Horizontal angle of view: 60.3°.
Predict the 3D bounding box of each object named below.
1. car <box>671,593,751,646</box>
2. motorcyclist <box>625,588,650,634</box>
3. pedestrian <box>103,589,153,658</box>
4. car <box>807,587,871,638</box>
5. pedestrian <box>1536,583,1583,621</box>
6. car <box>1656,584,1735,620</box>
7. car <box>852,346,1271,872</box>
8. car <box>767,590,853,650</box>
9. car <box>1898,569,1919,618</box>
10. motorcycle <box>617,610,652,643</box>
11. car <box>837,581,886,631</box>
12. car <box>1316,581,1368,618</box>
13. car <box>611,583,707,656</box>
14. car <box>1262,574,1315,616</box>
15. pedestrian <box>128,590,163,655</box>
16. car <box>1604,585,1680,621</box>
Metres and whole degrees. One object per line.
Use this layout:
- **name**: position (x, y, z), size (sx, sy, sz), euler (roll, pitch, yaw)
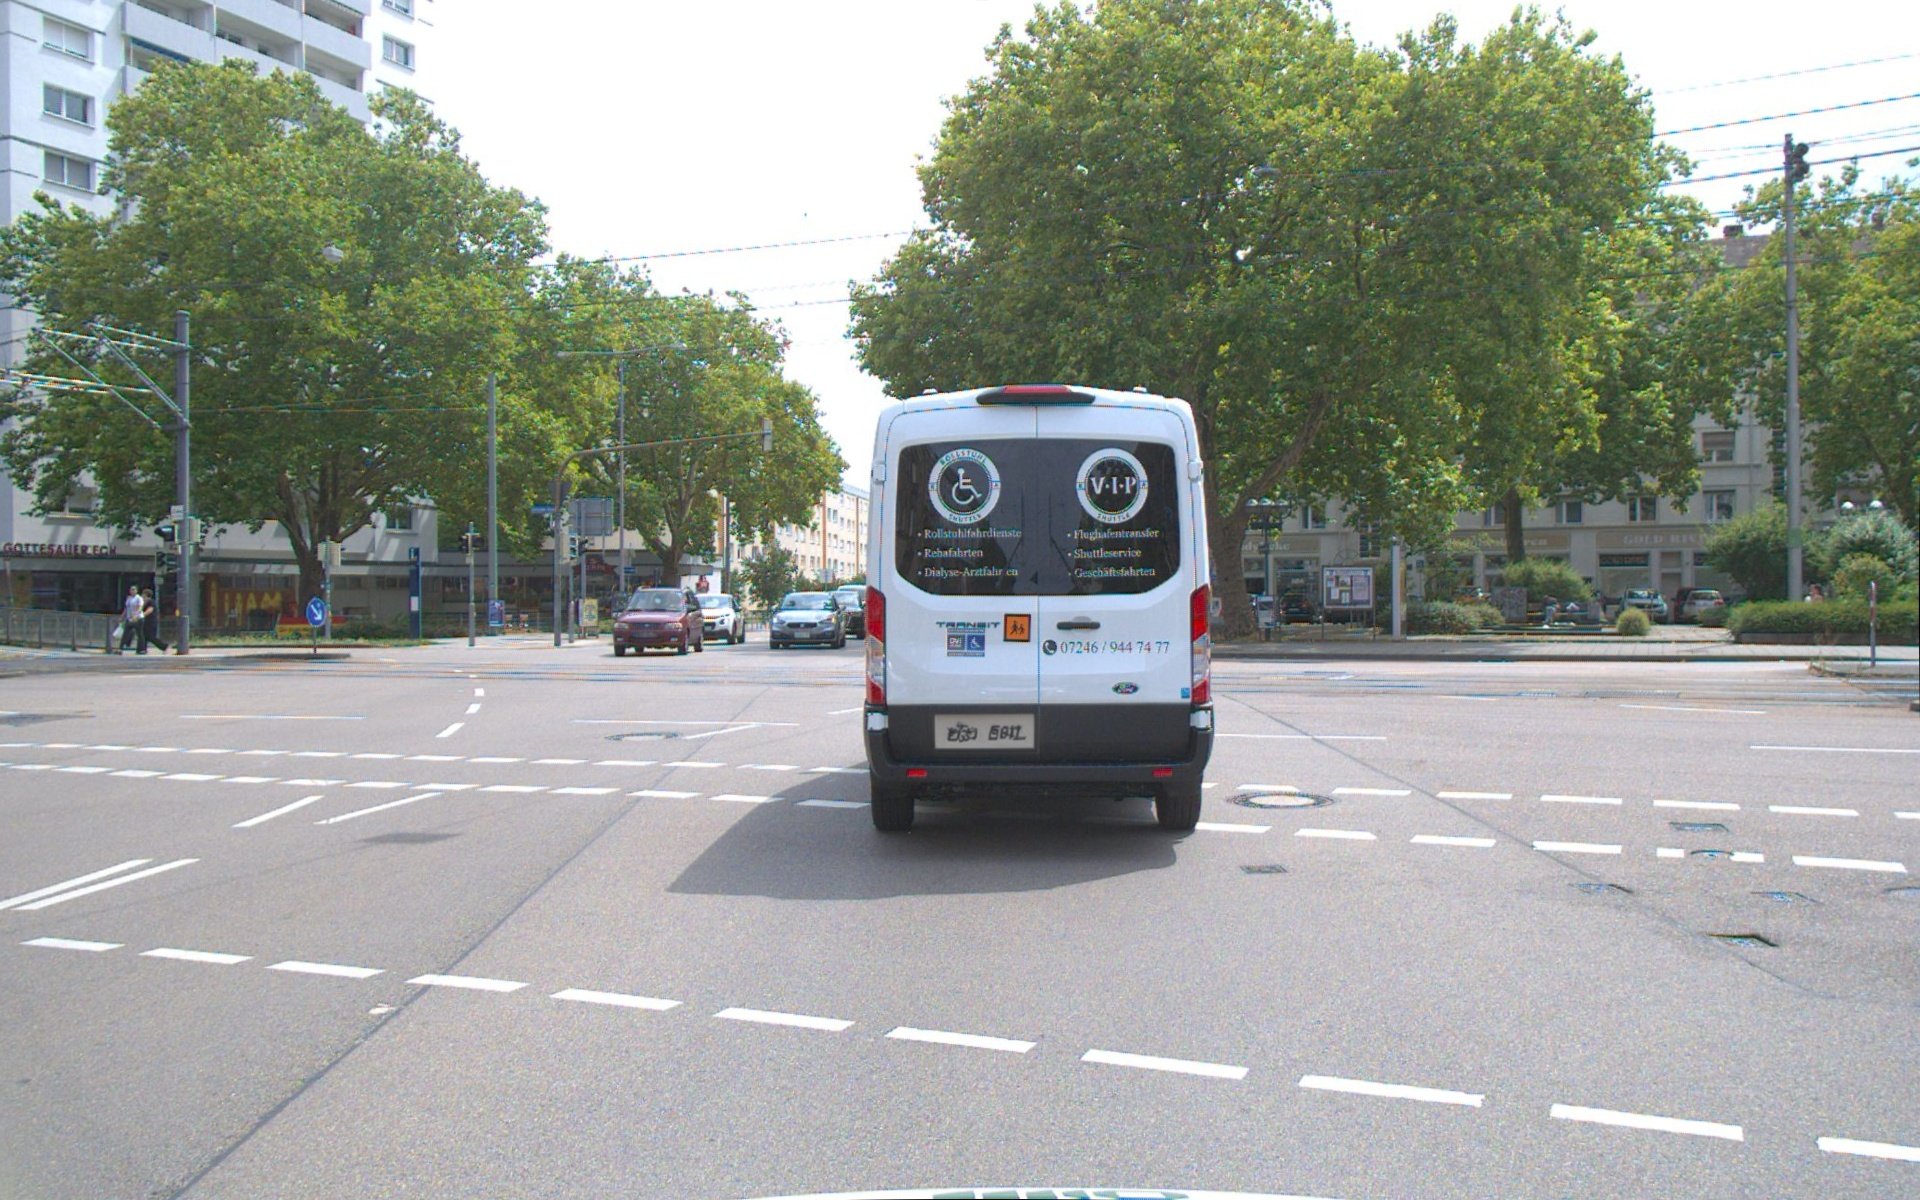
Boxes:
- **car**: position (-7.330, 0.542, 48.961), size (1.707, 1.452, 4.032), euler (-1, 0, 1)
- **motorcyclist**: position (-10.158, 0.351, 52.122), size (0.669, 1.420, 0.681), euler (-1, 0, -2)
- **pedestrian**: position (-19.545, 0.537, 38.849), size (0.791, 1.600, 0.723), euler (-1, 0, 27)
- **car**: position (-3.949, 0.382, 54.537), size (1.707, 1.615, 4.329), euler (-1, 0, 1)
- **pedestrian**: position (20.469, 0.074, 56.519), size (1.068, 1.257, 1.441), euler (-3, -1, 3)
- **car**: position (32.948, 0.082, 74.188), size (1.952, 1.545, 4.002), euler (-1, 0, 3)
- **car**: position (0.428, -0.003, 11.026), size (2.138, 2.694, 4.626), euler (-2, 1, -3)
- **car**: position (-3.819, 0.472, 42.746), size (1.794, 1.452, 4.121), euler (-1, 0, 1)
- **car**: position (39.348, -0.299, 65.187), size (3.906, 1.916, 1.857), euler (-1, 0, 23)
- **motorcycle**: position (-10.131, 0.813, 51.468), size (0.669, 0.988, 2.323), euler (-1, 0, -1)
- **car**: position (-4.064, 0.222, 68.871), size (1.707, 1.964, 4.854), euler (-1, 0, 1)
- **car**: position (18.433, -0.038, 80.032), size (1.767, 1.713, 4.002), euler (-1, 0, 3)
- **car**: position (-6.746, 0.412, 37.389), size (1.560, 1.534, 3.806), euler (-1, 0, -2)
- **car**: position (15.978, -0.233, 80.546), size (1.952, 1.964, 4.002), euler (-1, 0, 3)
- **pedestrian**: position (-19.832, 0.544, 40.266), size (0.712, 1.541, 0.925), euler (-1, 0, -24)
- **car**: position (30.735, 0.114, 74.623), size (1.952, 1.529, 4.002), euler (-1, 0, 3)
